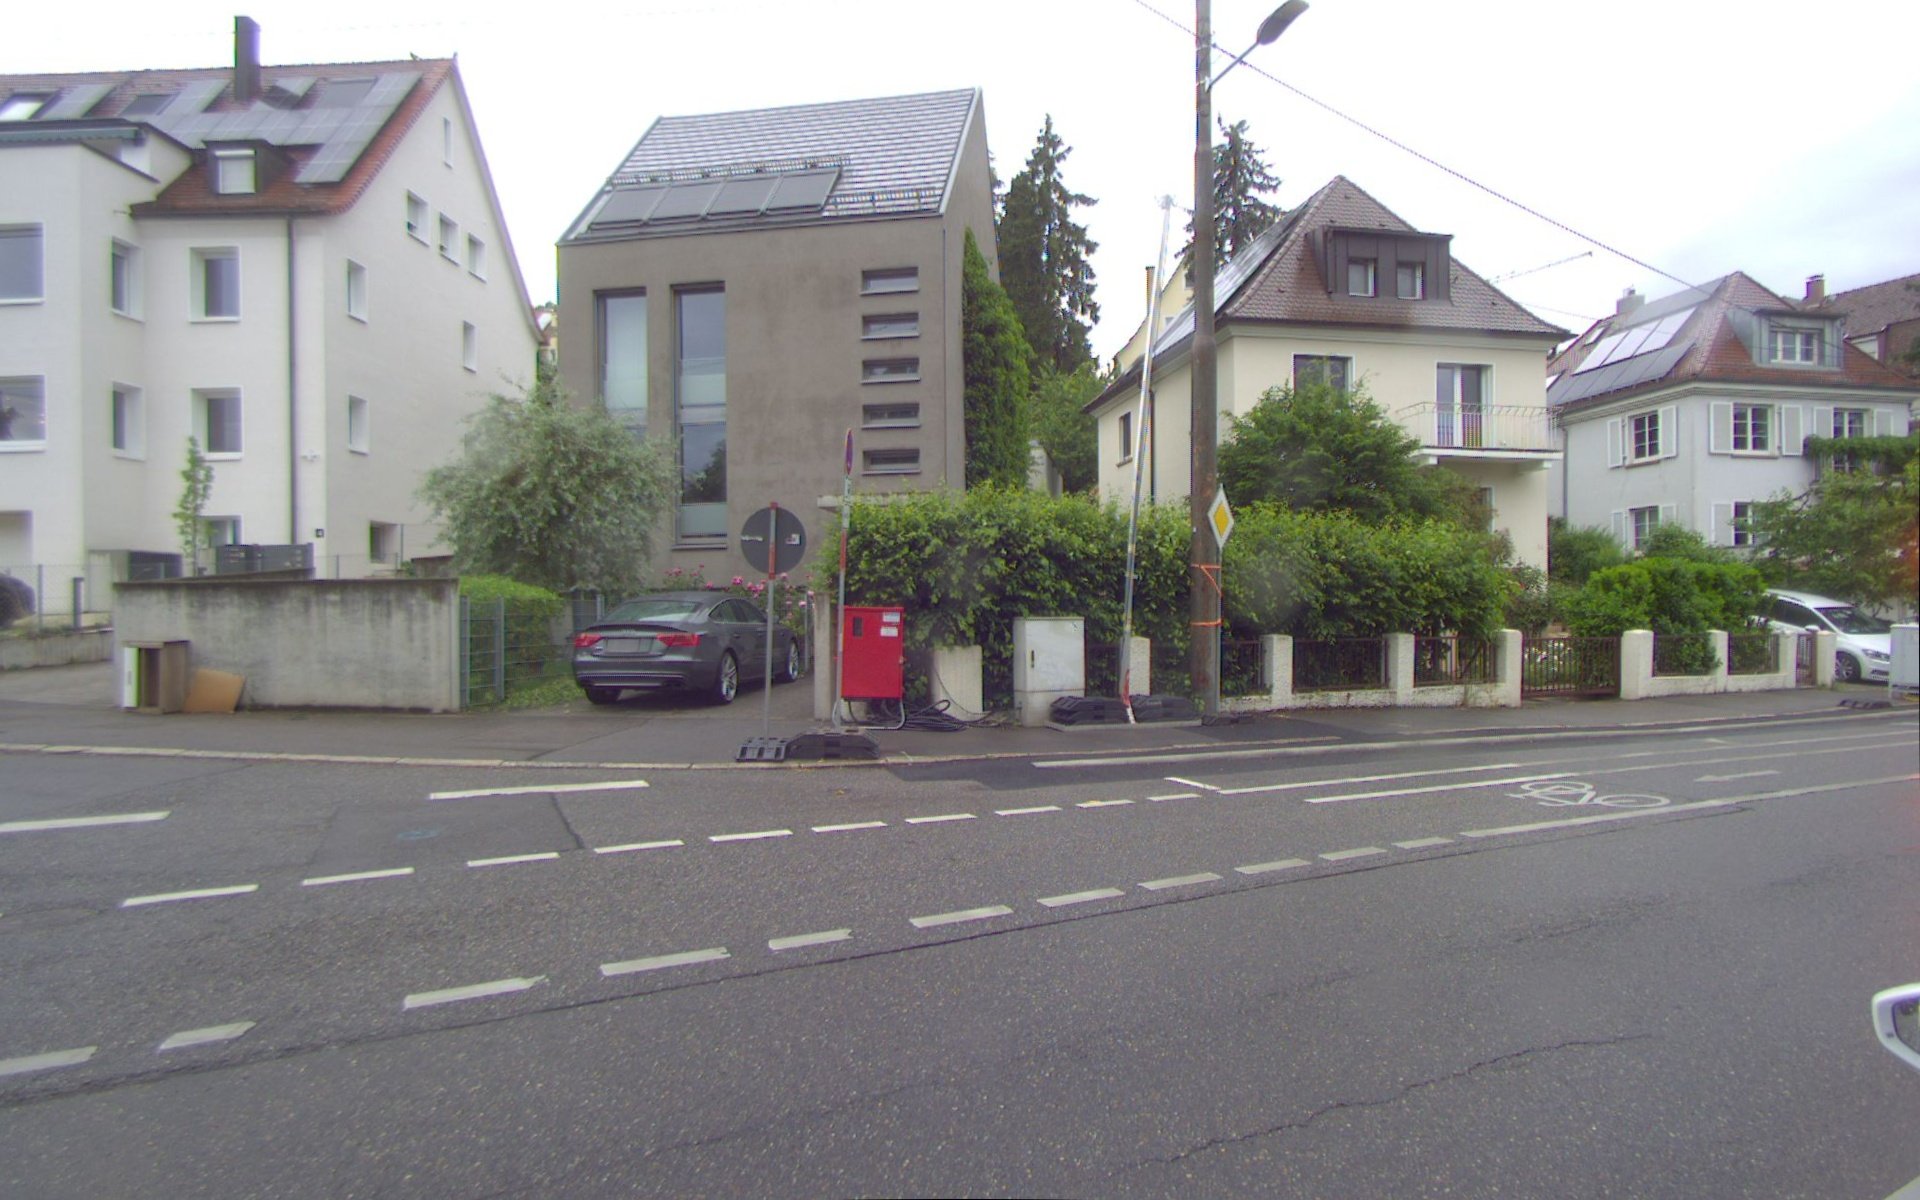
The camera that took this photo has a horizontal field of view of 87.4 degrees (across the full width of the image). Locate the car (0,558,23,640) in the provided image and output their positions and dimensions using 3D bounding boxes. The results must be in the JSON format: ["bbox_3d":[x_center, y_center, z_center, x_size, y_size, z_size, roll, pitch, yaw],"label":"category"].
[{"bbox_3d":[-16.810,0.051,15.143,1.536,1.350,3.923,1,3,3],"label":"car"}]

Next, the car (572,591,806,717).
[{"bbox_3d":[-3.468,0.596,13.743,1.581,1.387,4.265,0,1,7],"label":"car"}]

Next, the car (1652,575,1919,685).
[{"bbox_3d":[19.543,0.584,23.862,1.833,1.639,4.960,0,10,-15],"label":"car"}]

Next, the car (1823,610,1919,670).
[{"bbox_3d":[26.031,1.080,26.939,1.909,1.546,3.986,2,0,-16],"label":"car"}]
